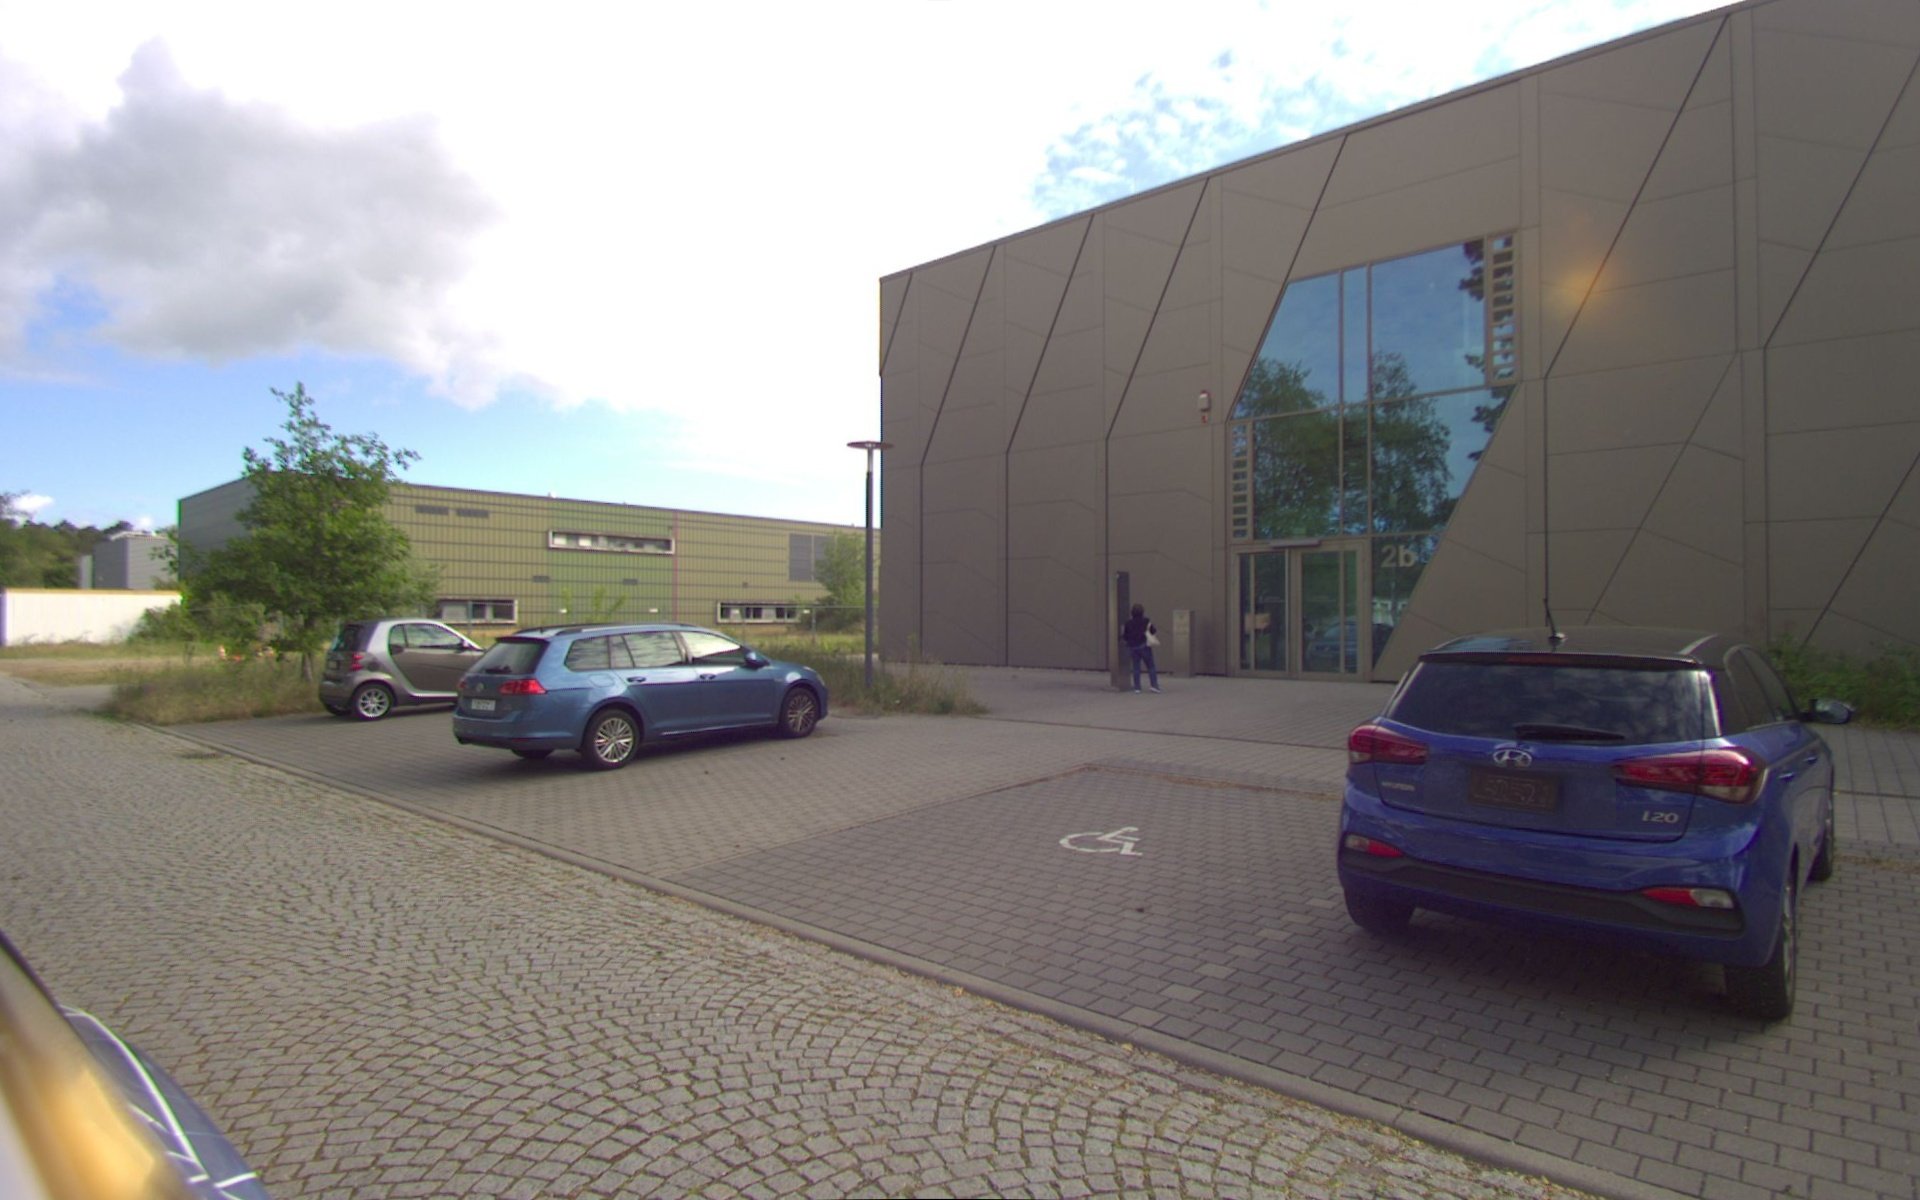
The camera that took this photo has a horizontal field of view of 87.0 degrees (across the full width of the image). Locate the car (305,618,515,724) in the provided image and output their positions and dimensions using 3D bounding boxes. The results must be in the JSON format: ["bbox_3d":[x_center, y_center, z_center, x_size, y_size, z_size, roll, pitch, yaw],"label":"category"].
[{"bbox_3d":[-8.956,1.088,16.574,1.609,1.523,2.627,-1,0,40],"label":"car"}]

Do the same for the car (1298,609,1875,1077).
[{"bbox_3d":[3.511,0.830,5.350,1.852,1.489,3.723,-1,0,44],"label":"car"}]

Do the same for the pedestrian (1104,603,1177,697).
[{"bbox_3d":[3.033,0.812,16.956,0.818,1.506,0.973,-1,-1,39],"label":"pedestrian"}]

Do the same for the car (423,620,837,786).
[{"bbox_3d":[-3.554,0.999,11.610,1.771,1.439,4.265,-1,0,38],"label":"car"}]
